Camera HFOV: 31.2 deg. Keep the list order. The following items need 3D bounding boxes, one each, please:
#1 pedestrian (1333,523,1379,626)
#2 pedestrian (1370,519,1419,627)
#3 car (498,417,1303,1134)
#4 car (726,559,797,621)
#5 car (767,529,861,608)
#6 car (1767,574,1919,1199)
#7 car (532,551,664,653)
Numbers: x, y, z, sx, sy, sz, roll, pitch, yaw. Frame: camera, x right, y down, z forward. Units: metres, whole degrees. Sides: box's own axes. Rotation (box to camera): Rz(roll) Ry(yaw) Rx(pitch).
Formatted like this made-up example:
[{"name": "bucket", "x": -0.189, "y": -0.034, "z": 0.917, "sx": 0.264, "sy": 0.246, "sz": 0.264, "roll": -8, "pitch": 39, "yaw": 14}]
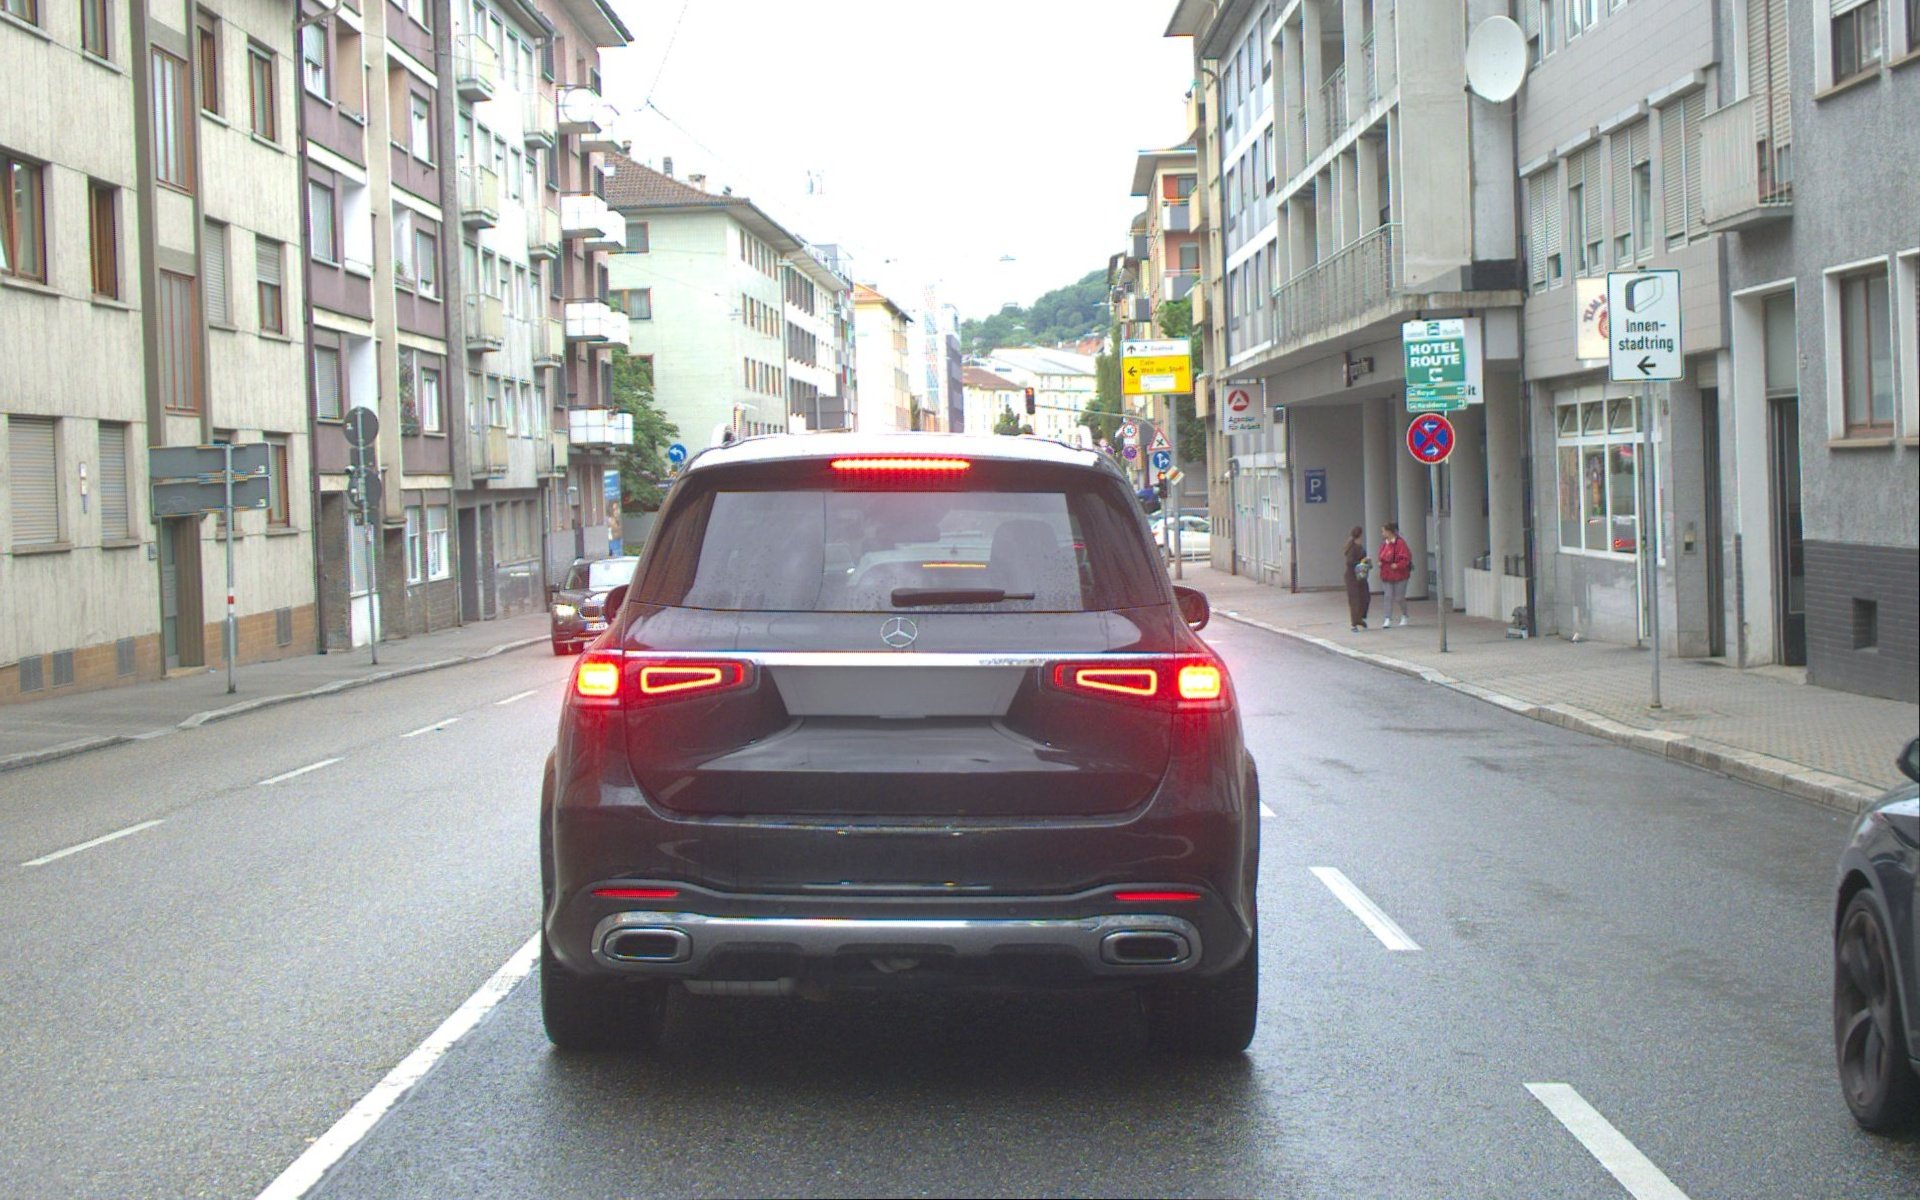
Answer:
[{"name": "pedestrian", "x": 5.917, "y": -0.378, "z": 51.351, "sx": 0.506, "sy": 1.495, "sz": 0.562, "roll": -4, "pitch": 1, "yaw": -1}, {"name": "pedestrian", "x": 6.504, "y": -0.406, "z": 51.456, "sx": 0.560, "sy": 1.573, "sz": 0.526, "roll": -4, "pitch": 1, "yaw": -1}, {"name": "car", "x": -0.180, "y": 0.410, "z": 10.779, "sx": 2.025, "sy": 1.799, "sz": 4.000, "roll": 1, "pitch": 1, "yaw": -1}, {"name": "car", "x": -5.620, "y": -0.305, "z": 97.969, "sx": 1.797, "sy": 1.579, "sz": 4.316, "roll": -3, "pitch": 1, "yaw": -1}, {"name": "car", "x": -3.495, "y": -0.786, "z": 82.877, "sx": 1.836, "sy": 1.721, "sz": 4.474, "roll": -4, "pitch": 1, "yaw": 2}, {"name": "car", "x": 3.011, "y": 0.702, "z": 7.040, "sx": 1.621, "sy": 1.425, "sz": 4.312, "roll": 1, "pitch": 1, "yaw": -1}, {"name": "car", "x": -5.955, "y": 0.002, "z": 56.893, "sx": 1.703, "sy": 1.502, "sz": 4.160, "roll": -4, "pitch": 1, "yaw": -1}]
